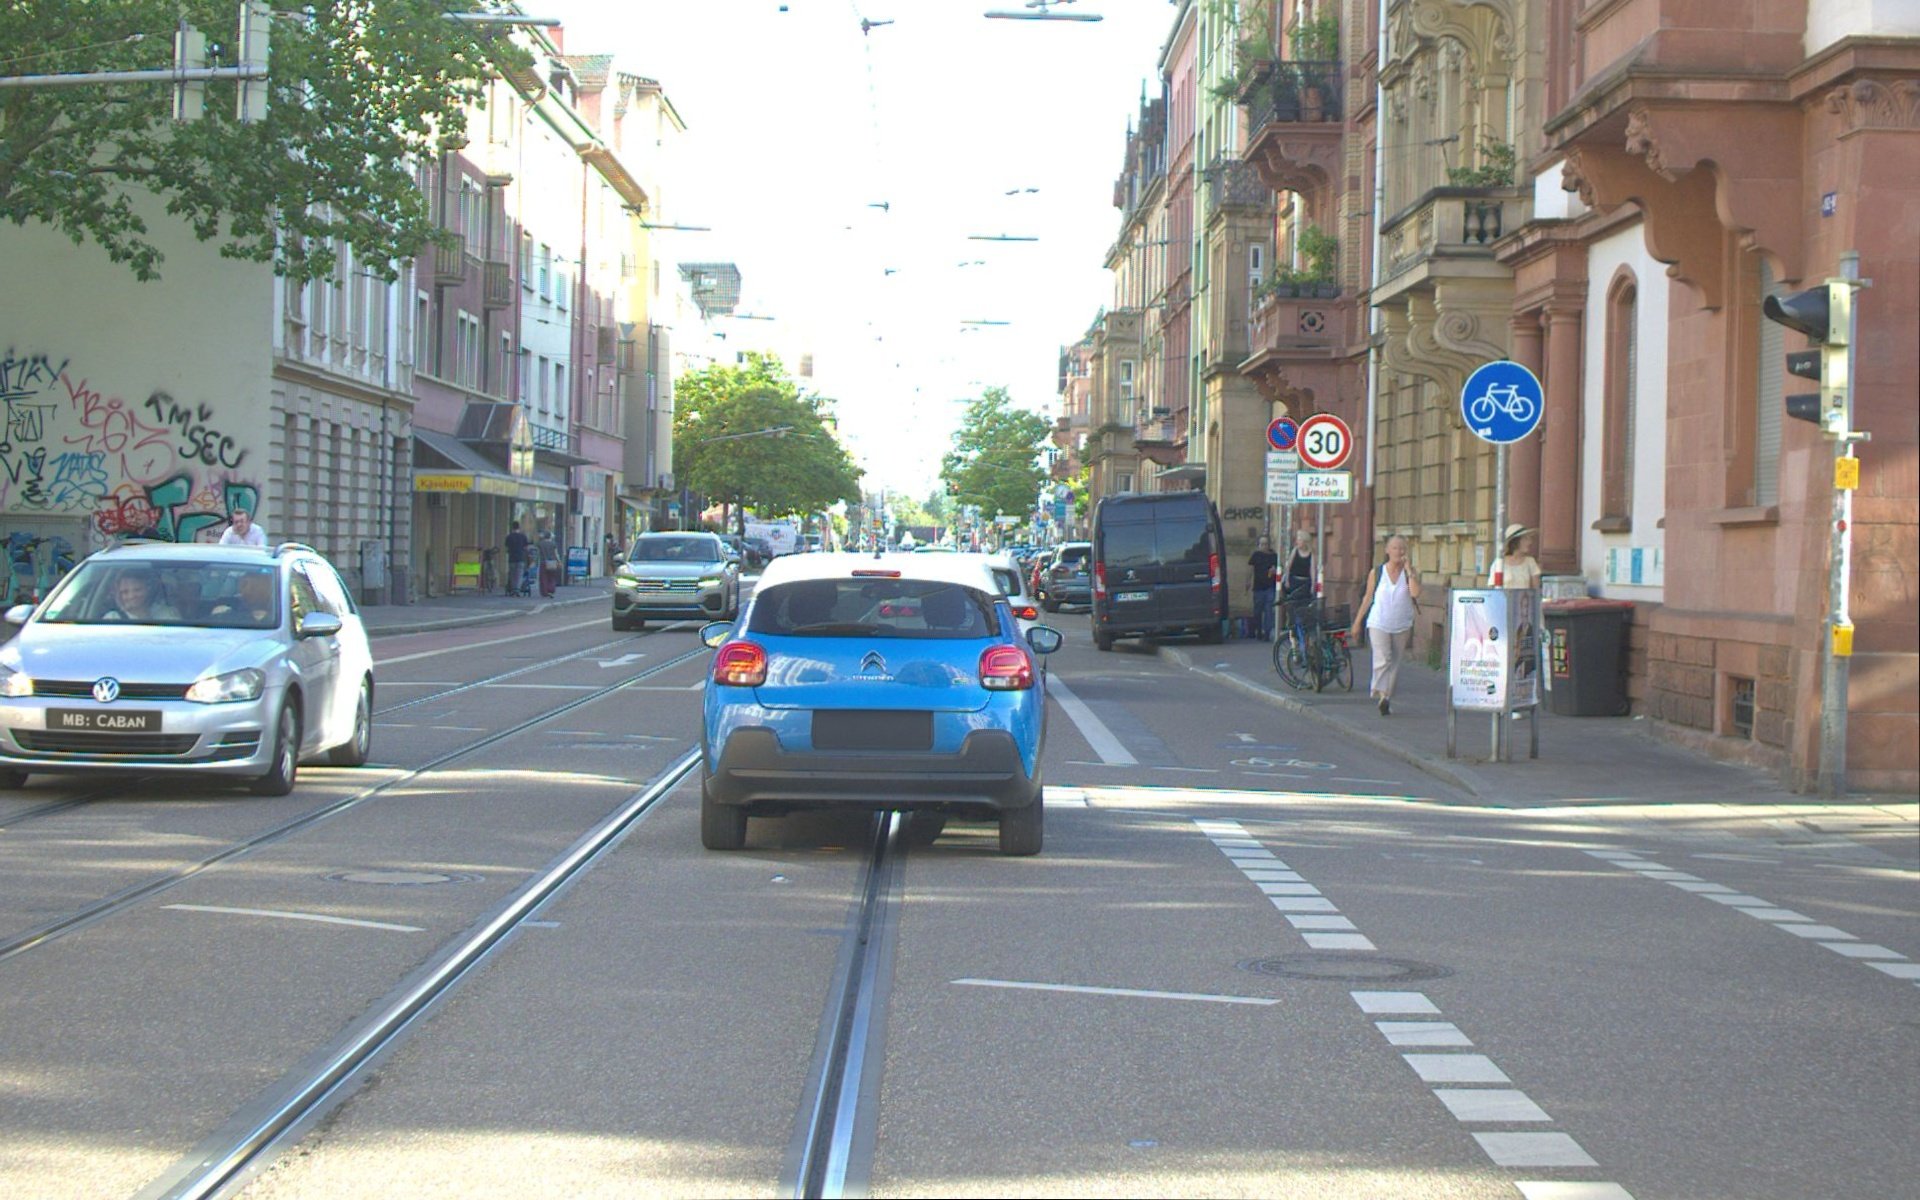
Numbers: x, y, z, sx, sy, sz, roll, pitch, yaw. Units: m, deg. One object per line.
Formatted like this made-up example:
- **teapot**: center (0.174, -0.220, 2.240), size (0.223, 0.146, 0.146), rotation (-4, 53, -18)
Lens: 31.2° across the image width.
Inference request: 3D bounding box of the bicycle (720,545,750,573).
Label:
- **bicycle**: center (-9.763, -1.783, 148.918), size (1.120, 1.142, 3.645), rotation (1, 1, -6)

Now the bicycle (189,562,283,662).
- **bicycle**: center (-8.525, 0.127, 40.572), size (0.692, 1.116, 2.084), rotation (1, 1, -1)

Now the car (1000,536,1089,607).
- **car**: center (2.056, -0.722, 84.765), size (2.005, 1.667, 4.806), rotation (1, 1, -1)

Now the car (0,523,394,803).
- **car**: center (-4.769, 0.307, 20.961), size (1.985, 1.497, 4.309), rotation (1, 1, -1)

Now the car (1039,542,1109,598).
- **car**: center (3.597, -0.964, 109.118), size (2.005, 1.667, 4.391), rotation (1, 1, 0)

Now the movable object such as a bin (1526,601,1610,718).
- **movable object such as a bin**: center (5.681, 0.549, 32.142), size (0.666, 1.073, 0.571), rotation (0, 1, -1)

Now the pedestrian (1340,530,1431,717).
- **pedestrian**: center (3.930, 0.212, 31.768), size (0.626, 1.695, 0.682), rotation (1, 1, -9)

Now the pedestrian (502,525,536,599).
- **pedestrian**: center (-10.547, -0.904, 82.242), size (0.710, 1.758, 0.570), rotation (1, 1, -1)

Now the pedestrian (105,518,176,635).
- **pedestrian**: center (-12.634, -0.364, 53.011), size (0.682, 1.759, 1.025), rotation (2, 1, 10)

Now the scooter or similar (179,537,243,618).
- **scooter or similar**: center (-12.516, -0.380, 57.474), size (0.788, 1.267, 1.075), rotation (4, 2, -1)

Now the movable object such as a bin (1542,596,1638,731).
- **movable object such as a bin**: center (5.764, 0.579, 31.482), size (0.666, 1.149, 0.594), rotation (-5, 2, -1)

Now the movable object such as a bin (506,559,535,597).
- **movable object such as a bin**: center (-10.603, -0.536, 82.933), size (0.610, 0.911, 0.695), rotation (1, 1, 0)

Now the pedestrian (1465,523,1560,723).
- **pedestrian**: center (4.996, 0.200, 31.118), size (0.705, 1.776, 0.673), rotation (-1, 1, -2)

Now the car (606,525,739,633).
- **car**: center (-4.920, -0.387, 59.422), size (1.993, 1.738, 4.563), rotation (2, 1, -2)

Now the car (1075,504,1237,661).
- **car**: center (3.209, -0.313, 57.468), size (2.271, 2.428, 5.720), rotation (2, 1, -1)

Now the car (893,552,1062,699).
- **car**: center (0.144, 0.234, 37.108), size (1.667, 1.473, 4.000), rotation (1, 1, -2)

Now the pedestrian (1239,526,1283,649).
- **pedestrian**: center (4.997, -0.213, 57.041), size (0.585, 2.007, 0.823), rotation (1, 1, -2)

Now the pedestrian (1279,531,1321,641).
- **pedestrian**: center (5.535, -0.234, 55.985), size (0.553, 1.776, 0.606), rotation (1, 1, -2)

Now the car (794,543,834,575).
- **car**: center (-7.701, -2.185, 181.551), size (1.993, 1.645, 4.000), rotation (1, 1, -1)

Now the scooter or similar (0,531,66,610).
- **scooter or similar**: center (-15.201, -0.487, 55.936), size (1.227, 1.253, 0.768), rotation (1, 1, -12)

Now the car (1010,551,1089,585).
- **car**: center (4.539, -1.615, 174.338), size (3.835, 1.612, 1.792), rotation (1, 1, -3)

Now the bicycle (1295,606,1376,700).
- **bicycle**: center (4.039, 0.562, 37.080), size (0.431, 0.944, 1.764), rotation (1, 1, -8)

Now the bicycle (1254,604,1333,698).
- **bicycle**: center (3.579, 0.538, 37.006), size (0.431, 0.944, 1.764), rotation (1, 1, -8)

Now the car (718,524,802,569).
- **car**: center (-11.538, -3.084, 197.973), size (4.307, 2.572, 2.210), rotation (-1, 1, -26)

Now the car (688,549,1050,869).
- **car**: center (-0.586, 0.488, 18.247), size (1.673, 1.472, 4.001), rotation (1, 1, -5)

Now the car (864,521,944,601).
- **car**: center (-1.476, -1.023, 89.431), size (1.993, 2.007, 4.000), rotation (1, 1, -1)

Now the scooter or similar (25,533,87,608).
- **scooter or similar**: center (-14.934, -0.491, 56.798), size (0.937, 1.218, 0.768), rotation (1, 1, -12)

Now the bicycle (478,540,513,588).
- **bicycle**: center (-11.434, -0.898, 84.523), size (0.621, 1.155, 2.066), rotation (1, 1, -13)

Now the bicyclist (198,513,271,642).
- **bicyclist**: center (-8.520, -0.270, 40.385), size (0.682, 1.478, 0.778), rotation (1, 1, -1)

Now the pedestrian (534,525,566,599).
- **pedestrian**: center (-9.831, -0.904, 82.396), size (0.710, 1.758, 0.655), rotation (1, 1, -8)
